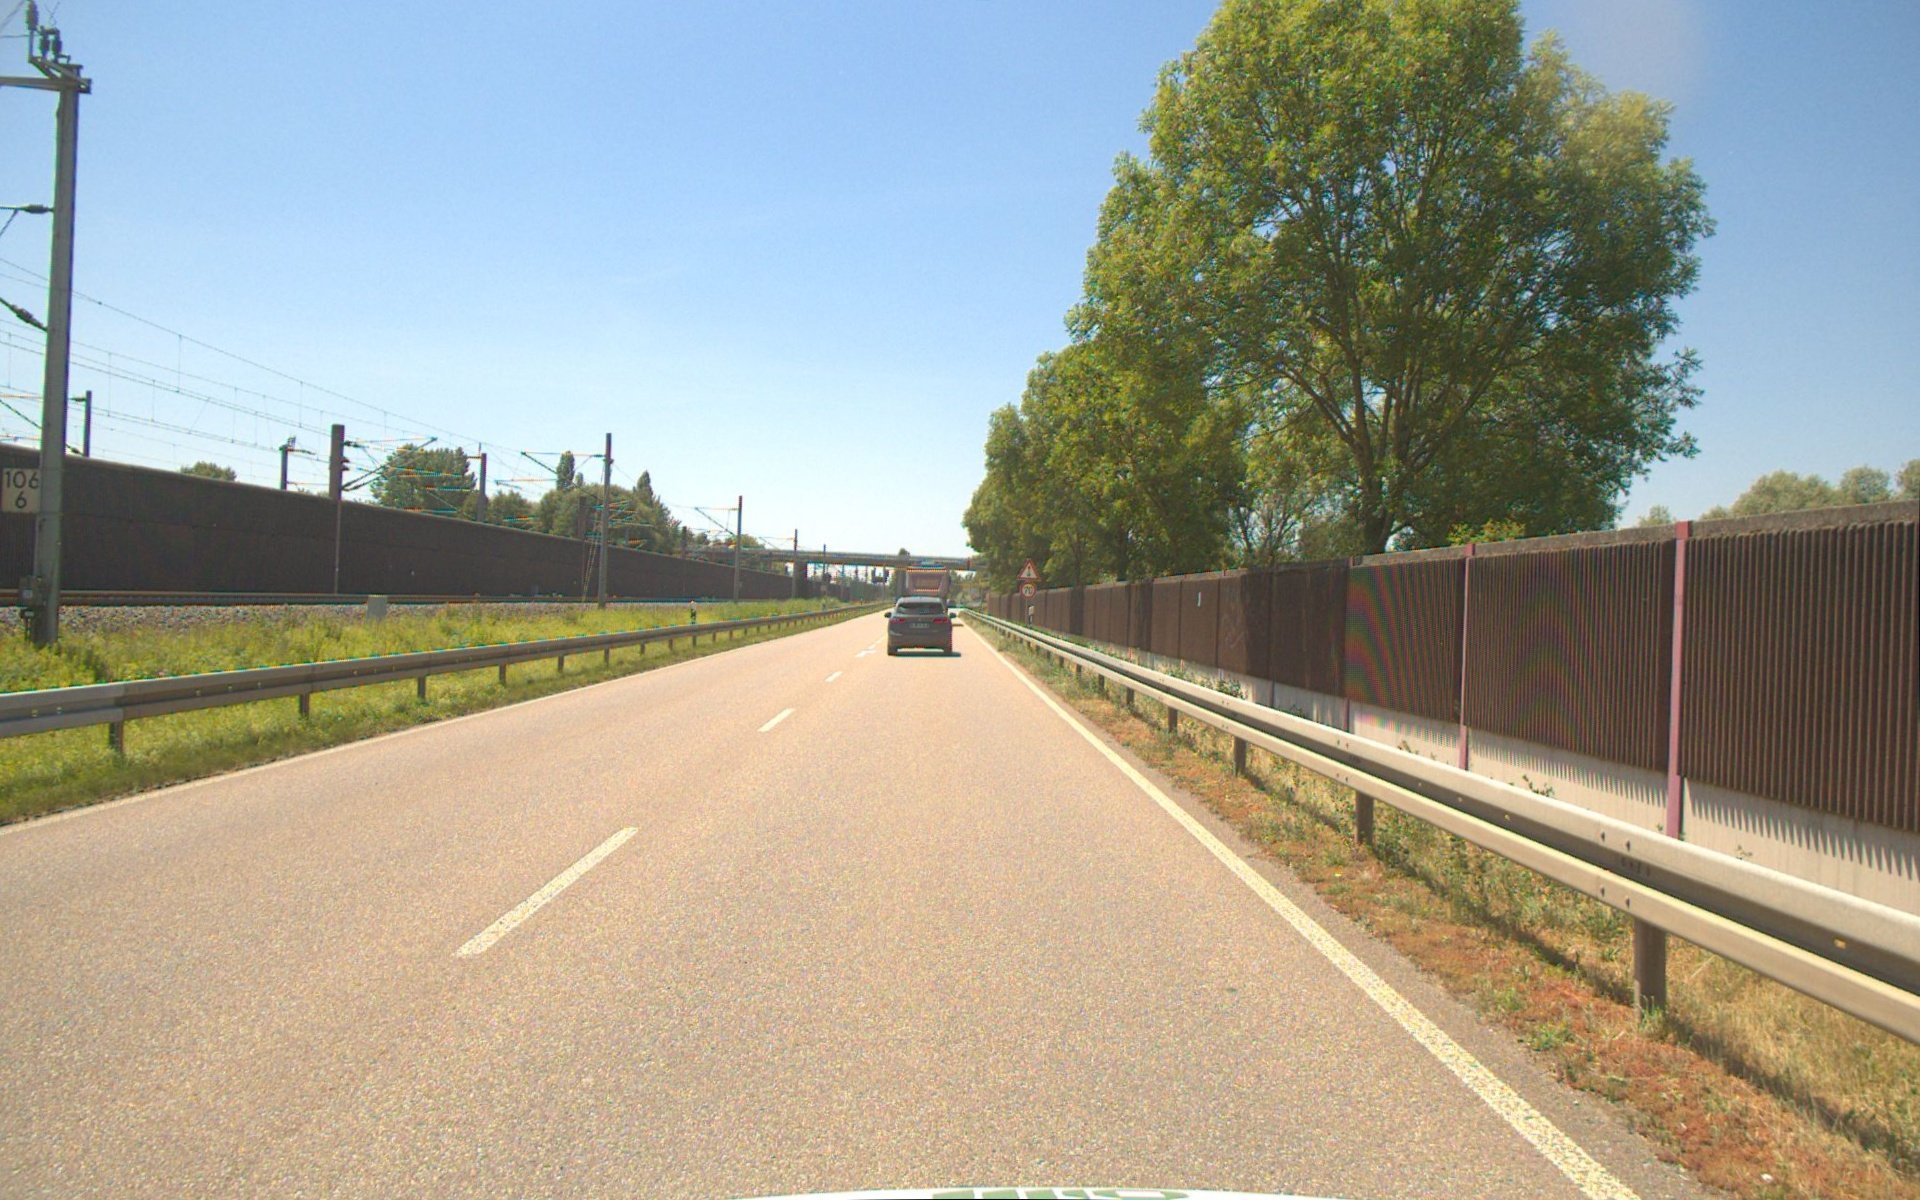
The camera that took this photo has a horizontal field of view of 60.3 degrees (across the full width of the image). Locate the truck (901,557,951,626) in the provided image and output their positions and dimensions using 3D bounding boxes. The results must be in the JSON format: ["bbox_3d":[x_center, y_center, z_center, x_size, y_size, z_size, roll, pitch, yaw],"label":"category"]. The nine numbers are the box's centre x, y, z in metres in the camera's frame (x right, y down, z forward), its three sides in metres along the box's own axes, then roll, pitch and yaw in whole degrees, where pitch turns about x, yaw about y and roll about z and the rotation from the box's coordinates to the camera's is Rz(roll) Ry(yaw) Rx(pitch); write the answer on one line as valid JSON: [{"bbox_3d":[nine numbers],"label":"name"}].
[{"bbox_3d":[-1.986,-0.479,100.046,2.775,3.888,11.883,1,0,0],"label":"truck"}]

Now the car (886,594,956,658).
[{"bbox_3d":[-1.051,0.701,46.293,1.807,1.651,4.226,1,0,0],"label":"car"}]
